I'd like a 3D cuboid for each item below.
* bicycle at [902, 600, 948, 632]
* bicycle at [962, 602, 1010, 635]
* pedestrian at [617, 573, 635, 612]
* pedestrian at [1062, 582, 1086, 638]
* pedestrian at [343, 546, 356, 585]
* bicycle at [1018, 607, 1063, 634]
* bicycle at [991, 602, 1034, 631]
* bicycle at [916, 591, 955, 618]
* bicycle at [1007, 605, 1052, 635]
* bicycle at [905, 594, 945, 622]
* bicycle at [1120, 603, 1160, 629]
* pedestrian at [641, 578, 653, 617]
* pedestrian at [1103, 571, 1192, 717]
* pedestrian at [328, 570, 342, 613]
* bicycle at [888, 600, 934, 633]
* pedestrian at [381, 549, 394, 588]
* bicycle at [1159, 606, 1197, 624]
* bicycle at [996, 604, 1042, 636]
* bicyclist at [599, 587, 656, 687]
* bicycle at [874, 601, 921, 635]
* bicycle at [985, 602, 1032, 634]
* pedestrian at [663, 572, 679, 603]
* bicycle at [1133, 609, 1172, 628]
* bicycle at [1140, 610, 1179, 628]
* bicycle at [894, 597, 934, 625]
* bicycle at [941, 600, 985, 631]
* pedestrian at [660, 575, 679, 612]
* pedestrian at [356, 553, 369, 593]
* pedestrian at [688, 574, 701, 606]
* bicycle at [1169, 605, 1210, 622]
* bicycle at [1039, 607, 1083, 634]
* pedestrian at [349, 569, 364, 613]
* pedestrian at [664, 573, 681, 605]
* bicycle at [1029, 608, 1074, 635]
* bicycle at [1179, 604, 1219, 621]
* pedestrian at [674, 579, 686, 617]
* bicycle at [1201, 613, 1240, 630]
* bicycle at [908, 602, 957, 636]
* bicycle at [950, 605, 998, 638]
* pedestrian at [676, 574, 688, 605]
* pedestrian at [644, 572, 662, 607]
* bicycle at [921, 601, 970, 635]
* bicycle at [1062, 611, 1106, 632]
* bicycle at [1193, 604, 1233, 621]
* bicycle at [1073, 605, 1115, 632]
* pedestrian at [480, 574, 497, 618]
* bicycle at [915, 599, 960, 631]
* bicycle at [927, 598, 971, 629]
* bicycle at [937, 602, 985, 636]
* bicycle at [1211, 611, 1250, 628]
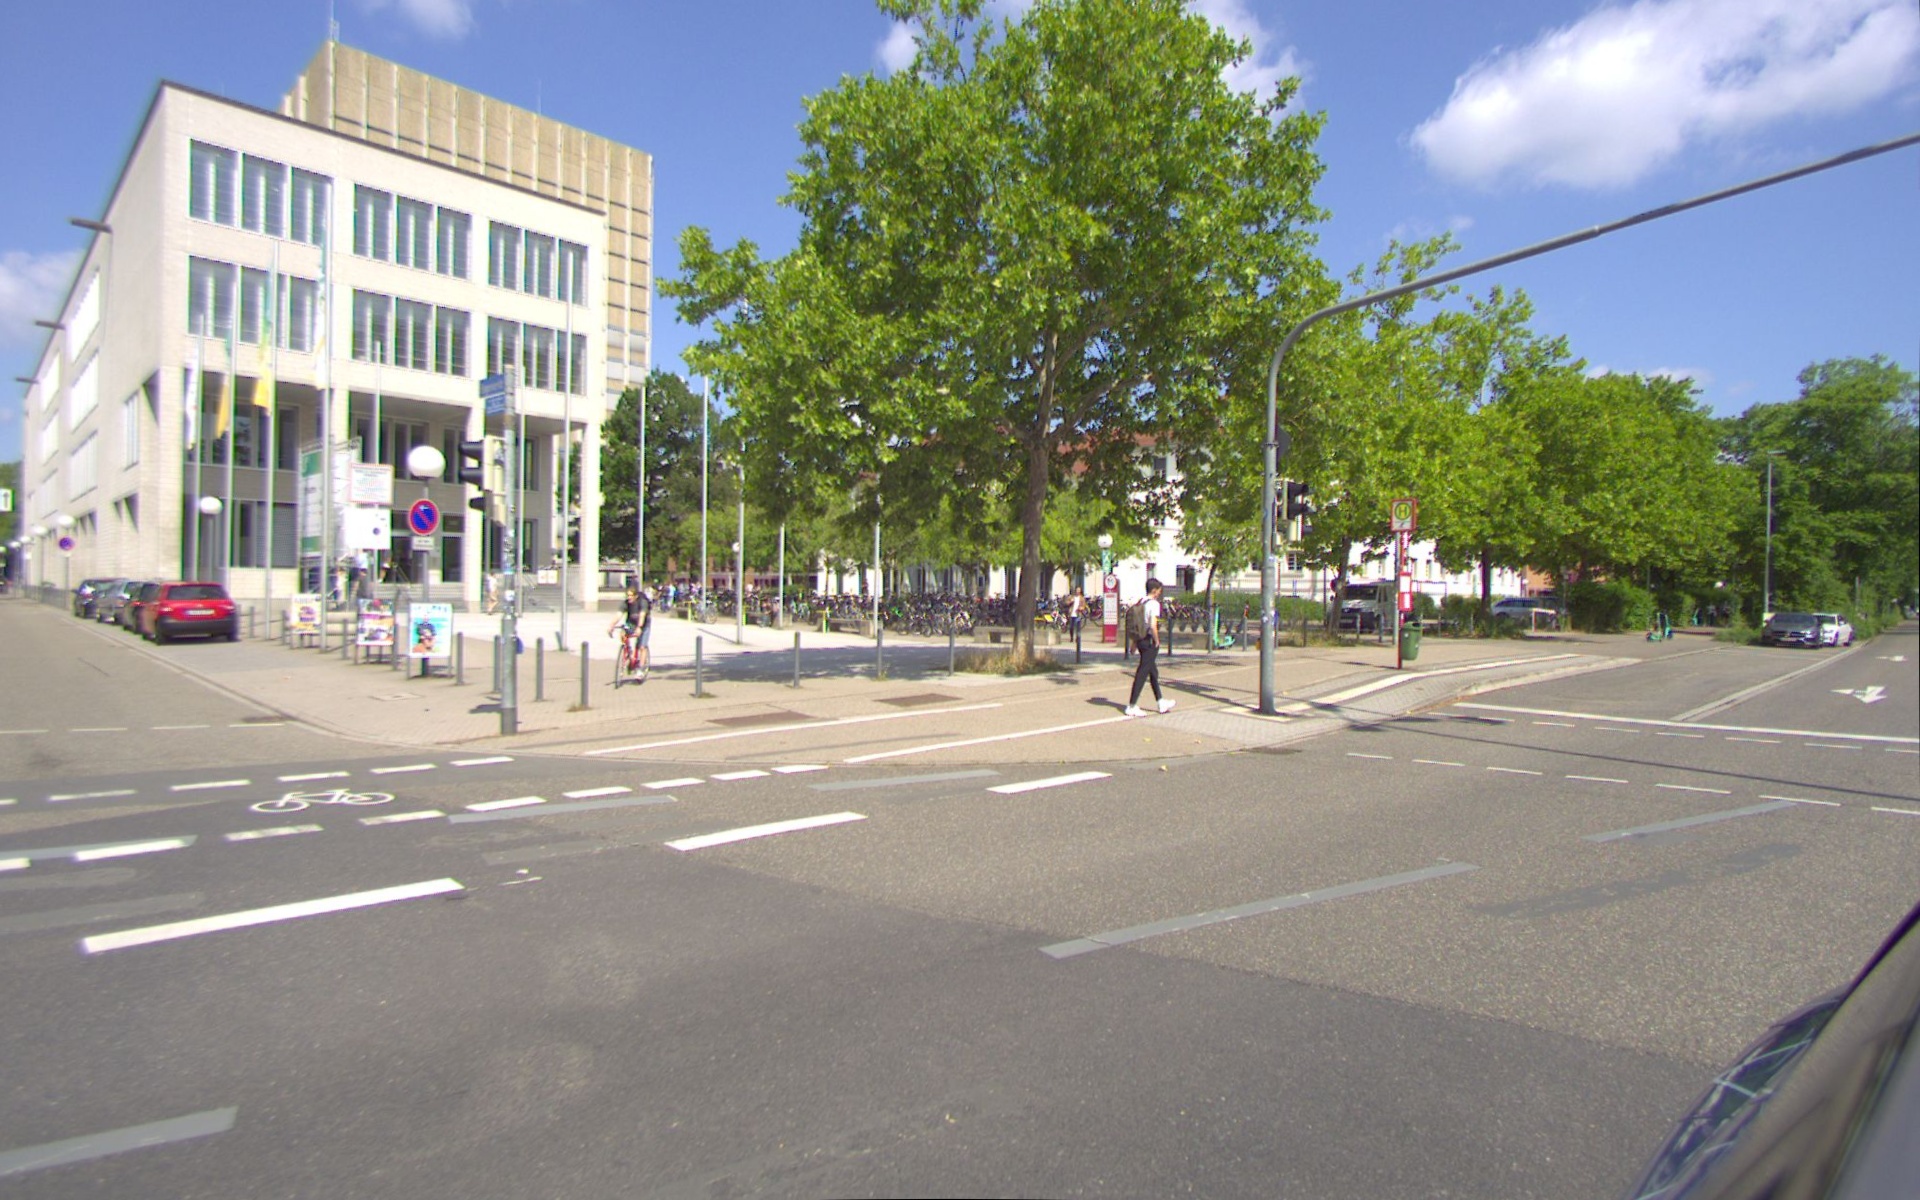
[{"bbox_3d":[-1.256,0.558,36.340,1.666,1.111,0.617,1,0,41],"label":"bicycle"},{"bbox_3d":[0.912,0.636,35.822,1.666,1.111,0.617,1,0,41],"label":"bicycle"},{"bbox_3d":[-16.380,-0.364,49.642,0.787,1.871,0.696,1,0,-18],"label":"pedestrian"},{"bbox_3d":[3.507,0.302,31.043,0.629,1.670,0.739,1,0,13],"label":"pedestrian"},{"bbox_3d":[-26.392,-1.467,43.743,0.379,1.669,0.403,1,-1,-44],"label":"pedestrian"},{"bbox_3d":[3.033,0.765,38.229,1.666,0.997,0.617,1,0,41],"label":"bicycle"},{"bbox_3d":[2.094,0.659,40.378,1.666,1.111,0.617,1,0,41],"label":"bicycle"},{"bbox_3d":[-1.029,0.202,42.824,1.666,1.111,0.617,1,0,41],"label":"bicycle"},{"bbox_3d":[2.588,0.740,37.731,1.666,1.048,0.617,1,0,41],"label":"bicycle"},{"bbox_3d":[-1.469,0.332,42.253,1.666,1.111,0.617,1,0,41],"label":"bicycle"},{"bbox_3d":[7.986,0.716,44.820,1.666,1.111,0.617,1,0,41],"label":"bicycle"},{"bbox_3d":[-14.943,-0.127,48.307,0.503,1.871,0.535,1,0,-13],"label":"pedestrian"},{"bbox_3d":[2.509,0.558,13.529,0.926,1.848,0.700,0,3,-44],"label":"pedestrian"},{"bbox_3d":[-24.501,-0.326,39.671,0.397,1.669,0.385,1,-1,-42],"label":"pedestrian"},{"bbox_3d":[-1.728,0.583,35.781,1.666,1.111,0.617,1,0,41],"label":"bicycle"},{"bbox_3d":[-24.959,-1.356,44.107,0.398,1.669,0.385,1,-1,-44],"label":"pedestrian"},{"bbox_3d":[10.296,0.696,47.875,1.666,0.800,0.617,1,0,41],"label":"bicycle"},{"bbox_3d":[2.153,0.733,37.020,1.666,1.111,0.617,1,0,41],"label":"bicycle"},{"bbox_3d":[-5.247,0.562,16.004,0.600,1.526,0.919,1,0,-2],"label":"bicyclist"},{"bbox_3d":[-2.183,0.615,35.249,1.666,1.111,0.617,1,0,41],"label":"bicycle"},{"bbox_3d":[1.730,0.648,36.501,1.666,1.111,0.617,1,0,41],"label":"bicycle"},{"bbox_3d":[-17.289,-0.740,60.632,0.691,1.871,0.634,0,-1,41],"label":"pedestrian"},{"bbox_3d":[8.748,0.824,46.110,1.665,0.800,0.618,1,0,40],"label":"bicycle"},{"bbox_3d":[9.196,0.864,46.708,1.665,0.800,0.618,1,0,40],"label":"bicycle"},{"bbox_3d":[-1.893,0.434,41.628,1.666,1.111,0.617,1,0,41],"label":"bicycle"},{"bbox_3d":[0.106,0.564,38.031,1.666,1.111,0.617,1,0,41],"label":"bicycle"},{"bbox_3d":[-14.912,-0.335,51.922,0.690,1.871,0.635,0,-1,35],"label":"pedestrian"},{"bbox_3d":[-25.315,-1.153,42.887,0.379,1.669,0.404,1,-1,-41],"label":"pedestrian"},{"bbox_3d":[-16.053,-0.599,61.187,0.549,1.871,0.521,0,-1,41],"label":"pedestrian"},{"bbox_3d":[10.172,0.593,44.912,1.666,0.743,0.617,1,0,41],"label":"bicycle"},{"bbox_3d":[3.909,0.785,39.258,1.666,0.978,0.617,1,0,41],"label":"bicycle"},{"bbox_3d":[-23.462,-0.349,39.324,0.397,1.669,0.385,1,-1,-42],"label":"pedestrian"},{"bbox_3d":[-16.718,-0.632,58.787,0.690,1.871,0.635,0,-1,35],"label":"pedestrian"},{"bbox_3d":[3.483,0.817,38.758,1.666,0.984,0.617,1,0,41],"label":"bicycle"},{"bbox_3d":[10.764,0.566,45.697,1.666,0.743,0.617,1,0,41],"label":"bicycle"},{"bbox_3d":[-13.798,-0.118,49.906,0.503,1.871,0.535,1,0,-13],"label":"pedestrian"},{"bbox_3d":[12.044,0.999,46.808,1.666,0.743,0.617,1,0,41],"label":"bicycle"},{"bbox_3d":[-0.937,0.623,33.785,1.666,1.111,0.617,1,0,41],"label":"bicycle"},{"bbox_3d":[0.486,0.734,35.238,1.666,1.111,0.617,1,0,41],"label":"bicycle"},{"bbox_3d":[-16.750,-0.639,61.059,0.500,1.871,0.491,0,-1,41],"label":"pedestrian"},{"bbox_3d":[-16.752,-0.578,55.306,0.690,1.871,0.635,0,-1,35],"label":"pedestrian"},{"bbox_3d":[-0.505,0.603,34.272,1.666,1.111,0.617,1,0,41],"label":"bicycle"},{"bbox_3d":[4.964,0.848,40.587,1.666,0.800,0.617,1,0,41],"label":"bicycle"},{"bbox_3d":[11.567,0.556,46.232,1.666,0.743,0.617,1,0,41],"label":"bicycle"},{"bbox_3d":[5.454,0.744,41.229,1.666,1.041,0.617,1,0,41],"label":"bicycle"},{"bbox_3d":[-19.804,-0.183,42.519,0.436,1.830,0.482,1,-1,18],"label":"pedestrian"},{"bbox_3d":[-0.819,0.533,36.876,1.666,1.111,0.617,1,0,41],"label":"bicycle"},{"bbox_3d":[-0.418,0.484,37.484,1.666,1.111,0.617,1,0,41],"label":"bicycle"},{"bbox_3d":[0.033,0.631,34.712,1.666,1.111,0.617,1,0,41],"label":"bicycle"},{"bbox_3d":[12.696,0.901,47.461,1.666,0.743,0.617,1,0,41],"label":"bicycle"}]
